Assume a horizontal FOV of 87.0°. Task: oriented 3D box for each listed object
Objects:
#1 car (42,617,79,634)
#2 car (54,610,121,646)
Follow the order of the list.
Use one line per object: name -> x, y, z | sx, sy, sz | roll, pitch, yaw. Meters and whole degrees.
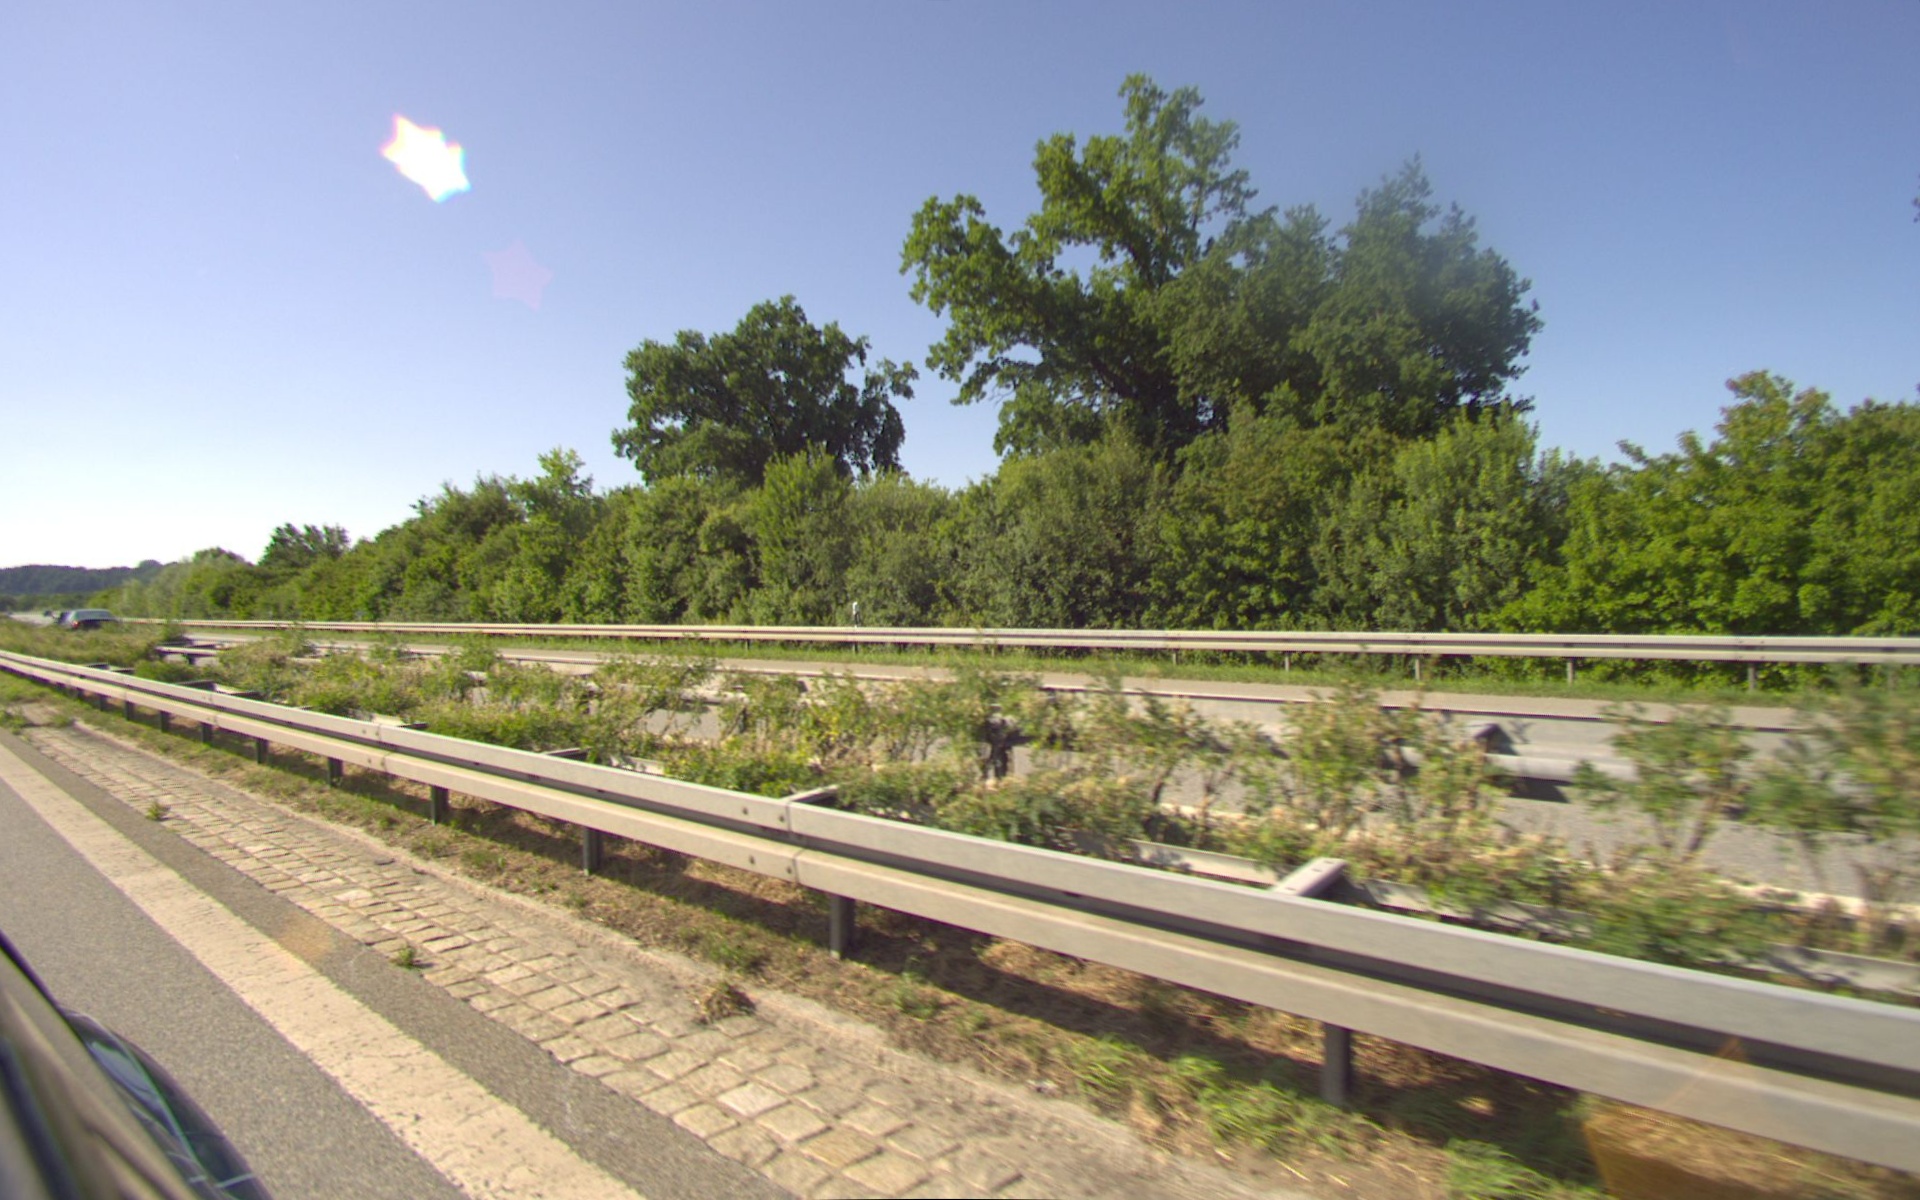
car -> -80.122, 2.291, 90.148 | 4.486, 1.443, 1.972 | -2, -1, 42
car -> -36.333, 1.147, 42.102 | 3.882, 1.439, 1.710 | -1, -1, 43
